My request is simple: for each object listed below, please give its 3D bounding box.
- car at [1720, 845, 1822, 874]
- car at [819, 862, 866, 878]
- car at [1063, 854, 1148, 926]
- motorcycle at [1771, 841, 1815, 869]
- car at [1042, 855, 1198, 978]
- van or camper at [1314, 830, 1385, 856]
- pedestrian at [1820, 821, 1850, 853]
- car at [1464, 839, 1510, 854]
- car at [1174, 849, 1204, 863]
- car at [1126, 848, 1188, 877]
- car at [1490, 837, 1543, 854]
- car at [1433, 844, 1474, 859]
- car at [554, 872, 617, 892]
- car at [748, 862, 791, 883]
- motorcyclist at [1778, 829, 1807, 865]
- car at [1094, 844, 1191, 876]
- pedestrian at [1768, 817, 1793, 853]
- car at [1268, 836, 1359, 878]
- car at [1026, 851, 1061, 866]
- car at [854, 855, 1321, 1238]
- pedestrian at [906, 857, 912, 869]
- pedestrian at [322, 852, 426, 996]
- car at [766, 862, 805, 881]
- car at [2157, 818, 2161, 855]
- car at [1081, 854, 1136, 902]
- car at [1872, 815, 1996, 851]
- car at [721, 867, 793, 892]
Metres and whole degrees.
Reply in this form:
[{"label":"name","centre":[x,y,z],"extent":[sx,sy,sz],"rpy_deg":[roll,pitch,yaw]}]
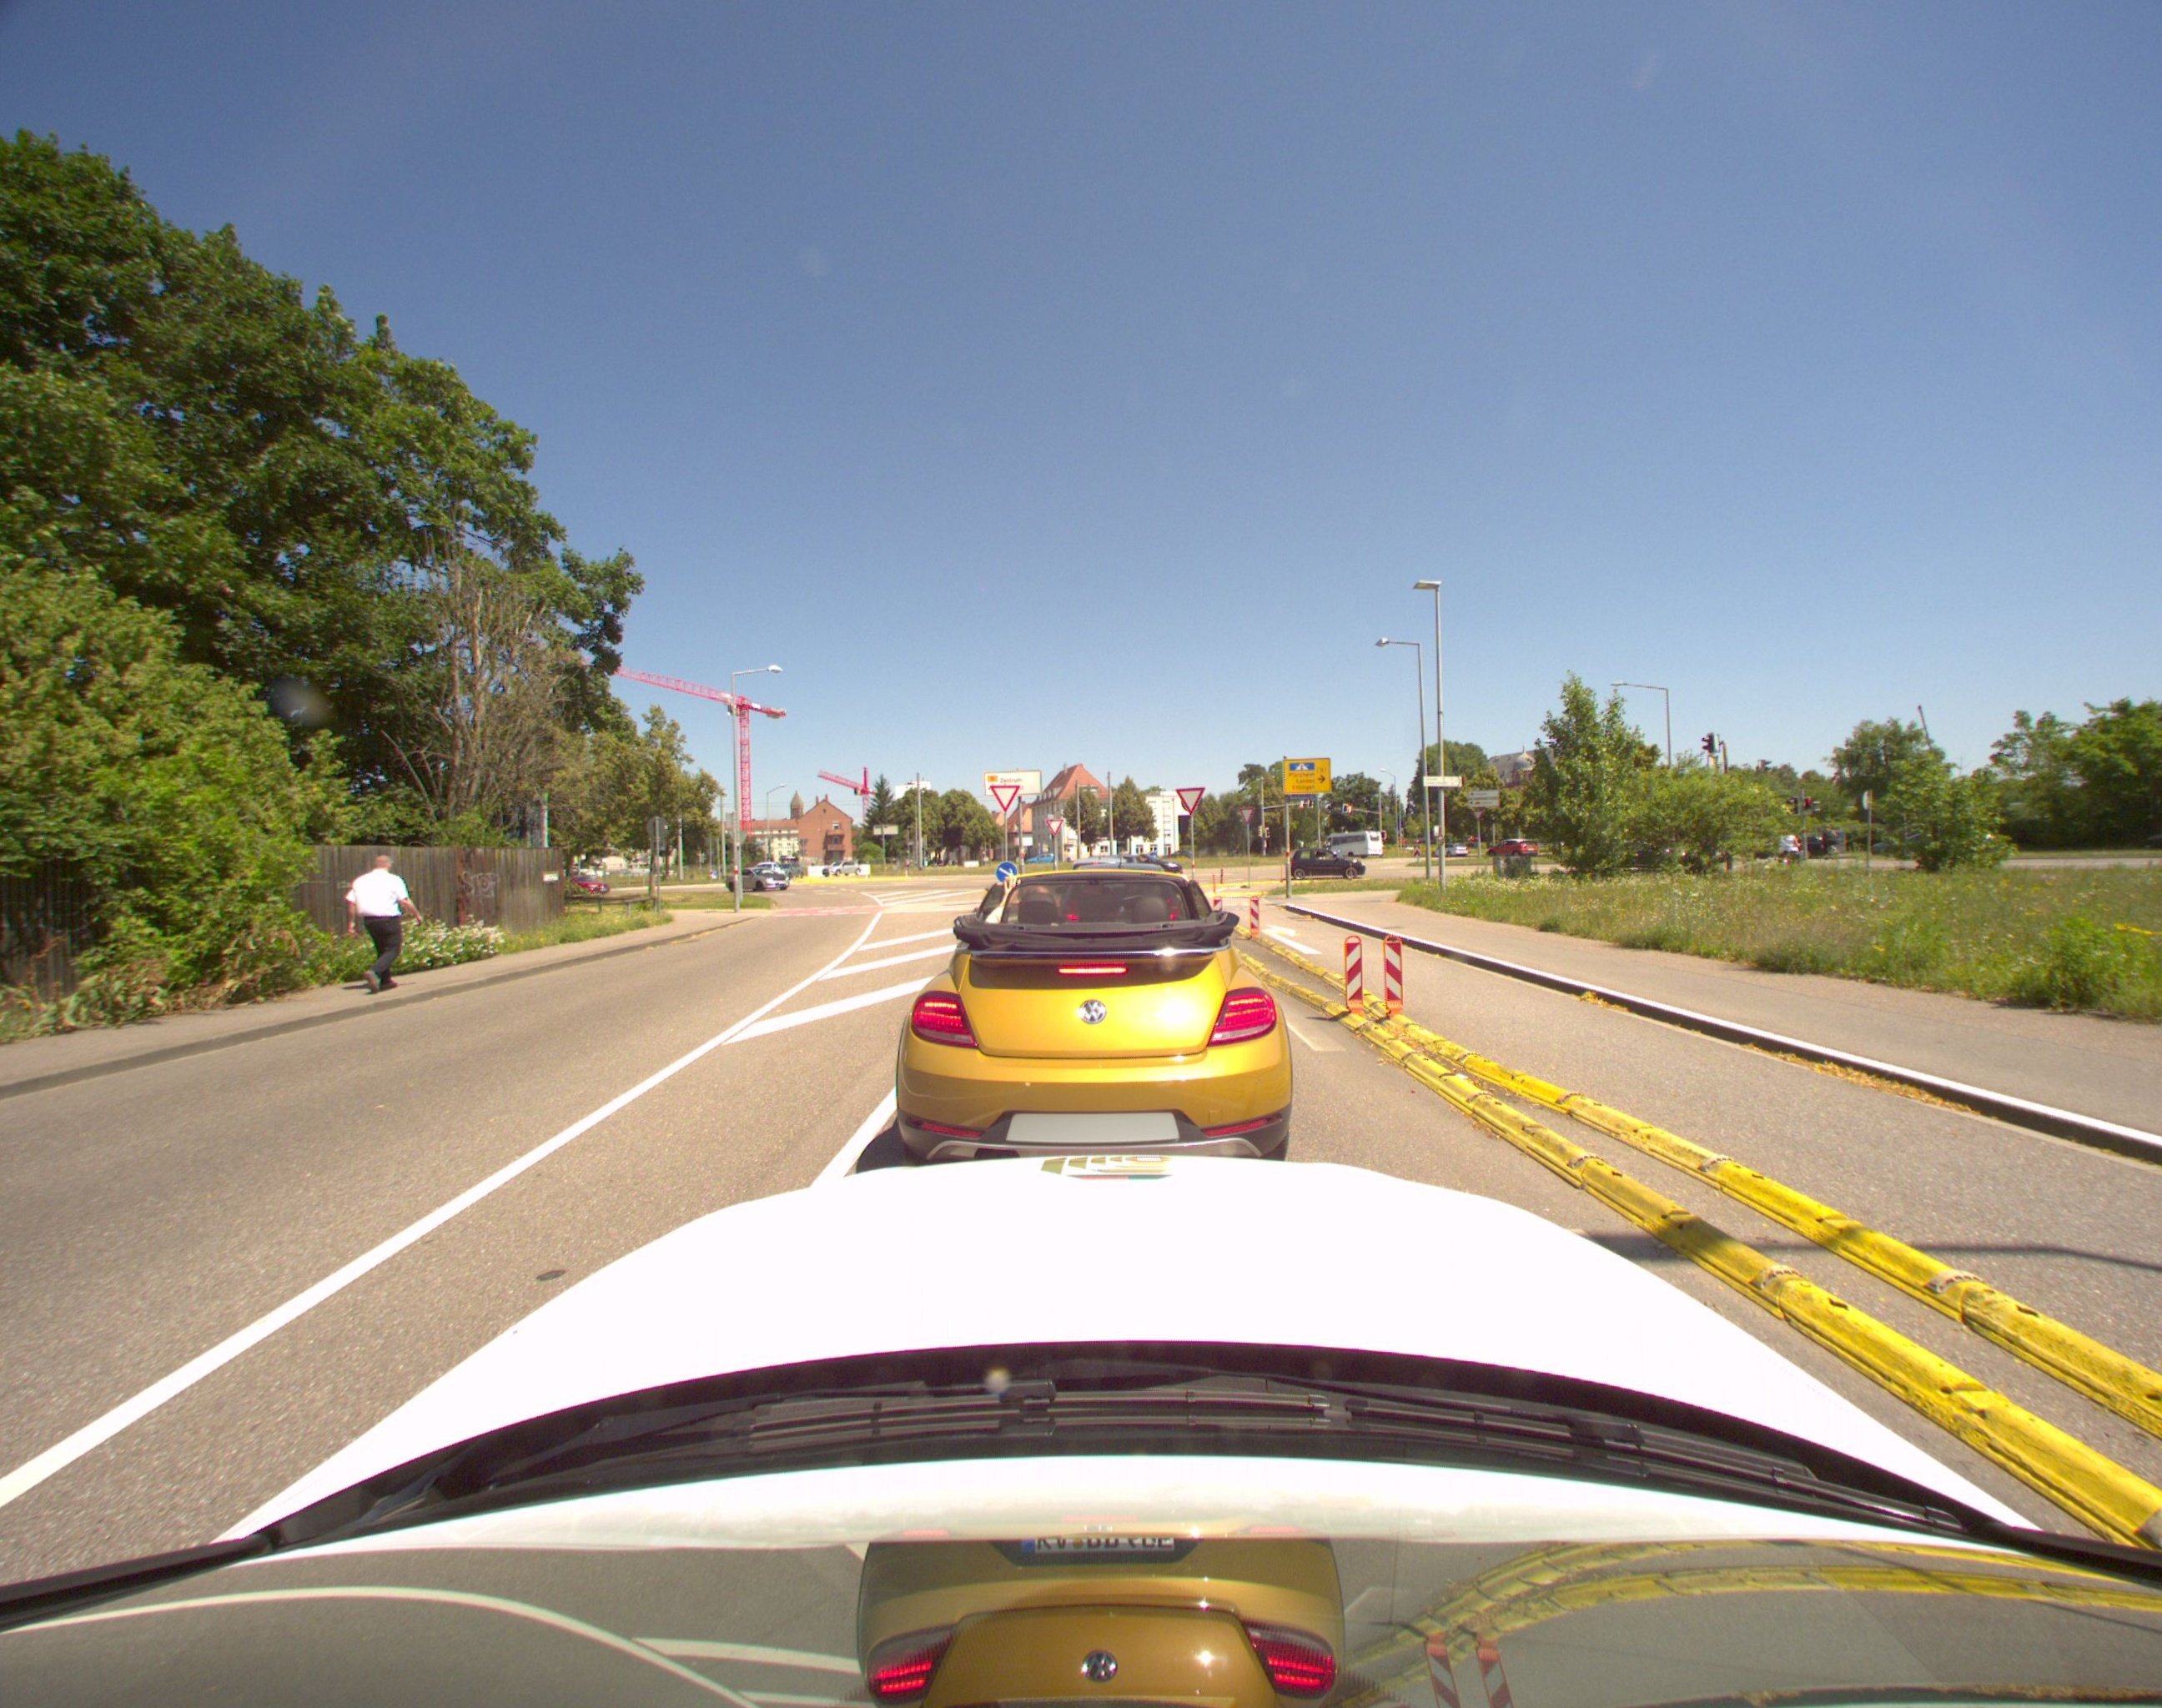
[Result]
[{"label":"car","centre":[42.399,0.332,50.126],"extent":[1.746,1.688,4.635],"rpy_deg":[-1,0,-43]},{"label":"car","centre":[-23.115,1.527,78.958],"extent":[1.690,1.500,4.247],"rpy_deg":[-1,0,34]},{"label":"car","centre":[0.576,0.752,18.801],"extent":[1.730,1.442,4.002],"rpy_deg":[-1,0,2]},{"label":"motorcycle","centre":[25.798,0.038,29.503],"extent":[1.712,0.970,0.625],"rpy_deg":[-1,0,-28]},{"label":"car","centre":[0.536,0.759,11.783],"extent":[1.841,1.442,4.002],"rpy_deg":[-1,0,2]},{"label":"van or camper","centre":[29.651,-1.222,90.307],"extent":[2.523,2.693,7.434],"rpy_deg":[-1,0,-33]},{"label":"pedestrian","centre":[37.848,-0.861,40.895],"extent":[0.787,1.563,0.825],"rpy_deg":[-1,0,11]},{"label":"car","centre":[36.191,-0.642,72.676],"extent":[1.651,1.300,3.779],"rpy_deg":[-1,0,-13]},{"label":"car","centre":[12.706,0.216,95.787],"extent":[3.212,1.606,1.648],"rpy_deg":[-1,0,-5]},{"label":"car","centre":[5.097,0.580,54.975],"extent":[3.973,1.816,2.000],"rpy_deg":[-1,0,0]},{"label":"car","centre":[34.222,-0.639,64.072],"extent":[1.651,1.300,3.779],"rpy_deg":[-1,0,-13]},{"label":"car","centre":[37.904,-0.267,82.947],"extent":[1.656,1.424,3.767],"rpy_deg":[-1,0,-22]},{"label":"car","centre":[-34.632,1.961,56.907],"extent":[3.616,1.316,1.831],"rpy_deg":[-1,0,19]},{"label":"car","centre":[-24.721,1.433,64.812],"extent":[1.749,1.549,4.002],"rpy_deg":[-1,0,2]},{"label":"motorcyclist","centre":[25.818,-0.250,29.550],"extent":[0.616,1.289,0.576],"rpy_deg":[-1,-1,-27]},{"label":"car","centre":[3.383,0.317,44.720],"extent":[4.894,1.656,2.011],"rpy_deg":[-1,0,22]},{"label":"pedestrian","centre":[36.393,-0.971,42.382],"extent":[0.647,1.870,0.737],"rpy_deg":[-1,-1,3]},{"label":"car","centre":[10.856,0.146,38.314],"extent":[3.960,1.816,2.007],"rpy_deg":[-1,0,12]},{"label":"car","centre":[-4.626,0.561,100.447],"extent":[3.990,1.838,1.992],"rpy_deg":[-1,0,-13]},{"label":"car","centre":[0.075,0.735,4.976],"extent":[1.746,1.422,3.778],"rpy_deg":[-1,0,1]},{"label":"pedestrian","centre":[-23.601,1.268,111.698],"extent":[0.492,1.563,0.596],"rpy_deg":[-2,0,35]},{"label":"pedestrian","centre":[-9.306,0.888,10.748],"extent":[0.590,1.825,0.851],"rpy_deg":[-1,0,2]},{"label":"car","centre":[-25.145,1.458,69.475],"extent":[1.749,1.549,4.002],"rpy_deg":[-1,0,2]},{"label":"car","centre":[53.903,-0.865,37.789],"extent":[2.011,1.806,4.551],"rpy_deg":[-1,0,-43]},{"label":"car","centre":[0.934,0.760,27.600],"extent":[1.730,1.477,4.002],"rpy_deg":[-1,0,2]},{"label":"car","centre":[44.185,-1.046,42.297],"extent":[2.011,1.717,4.324],"rpy_deg":[-1,0,-44]},{"label":"car","centre":[-18.753,1.463,47.065],"extent":[4.222,1.316,1.834],"rpy_deg":[-1,0,36]}]
